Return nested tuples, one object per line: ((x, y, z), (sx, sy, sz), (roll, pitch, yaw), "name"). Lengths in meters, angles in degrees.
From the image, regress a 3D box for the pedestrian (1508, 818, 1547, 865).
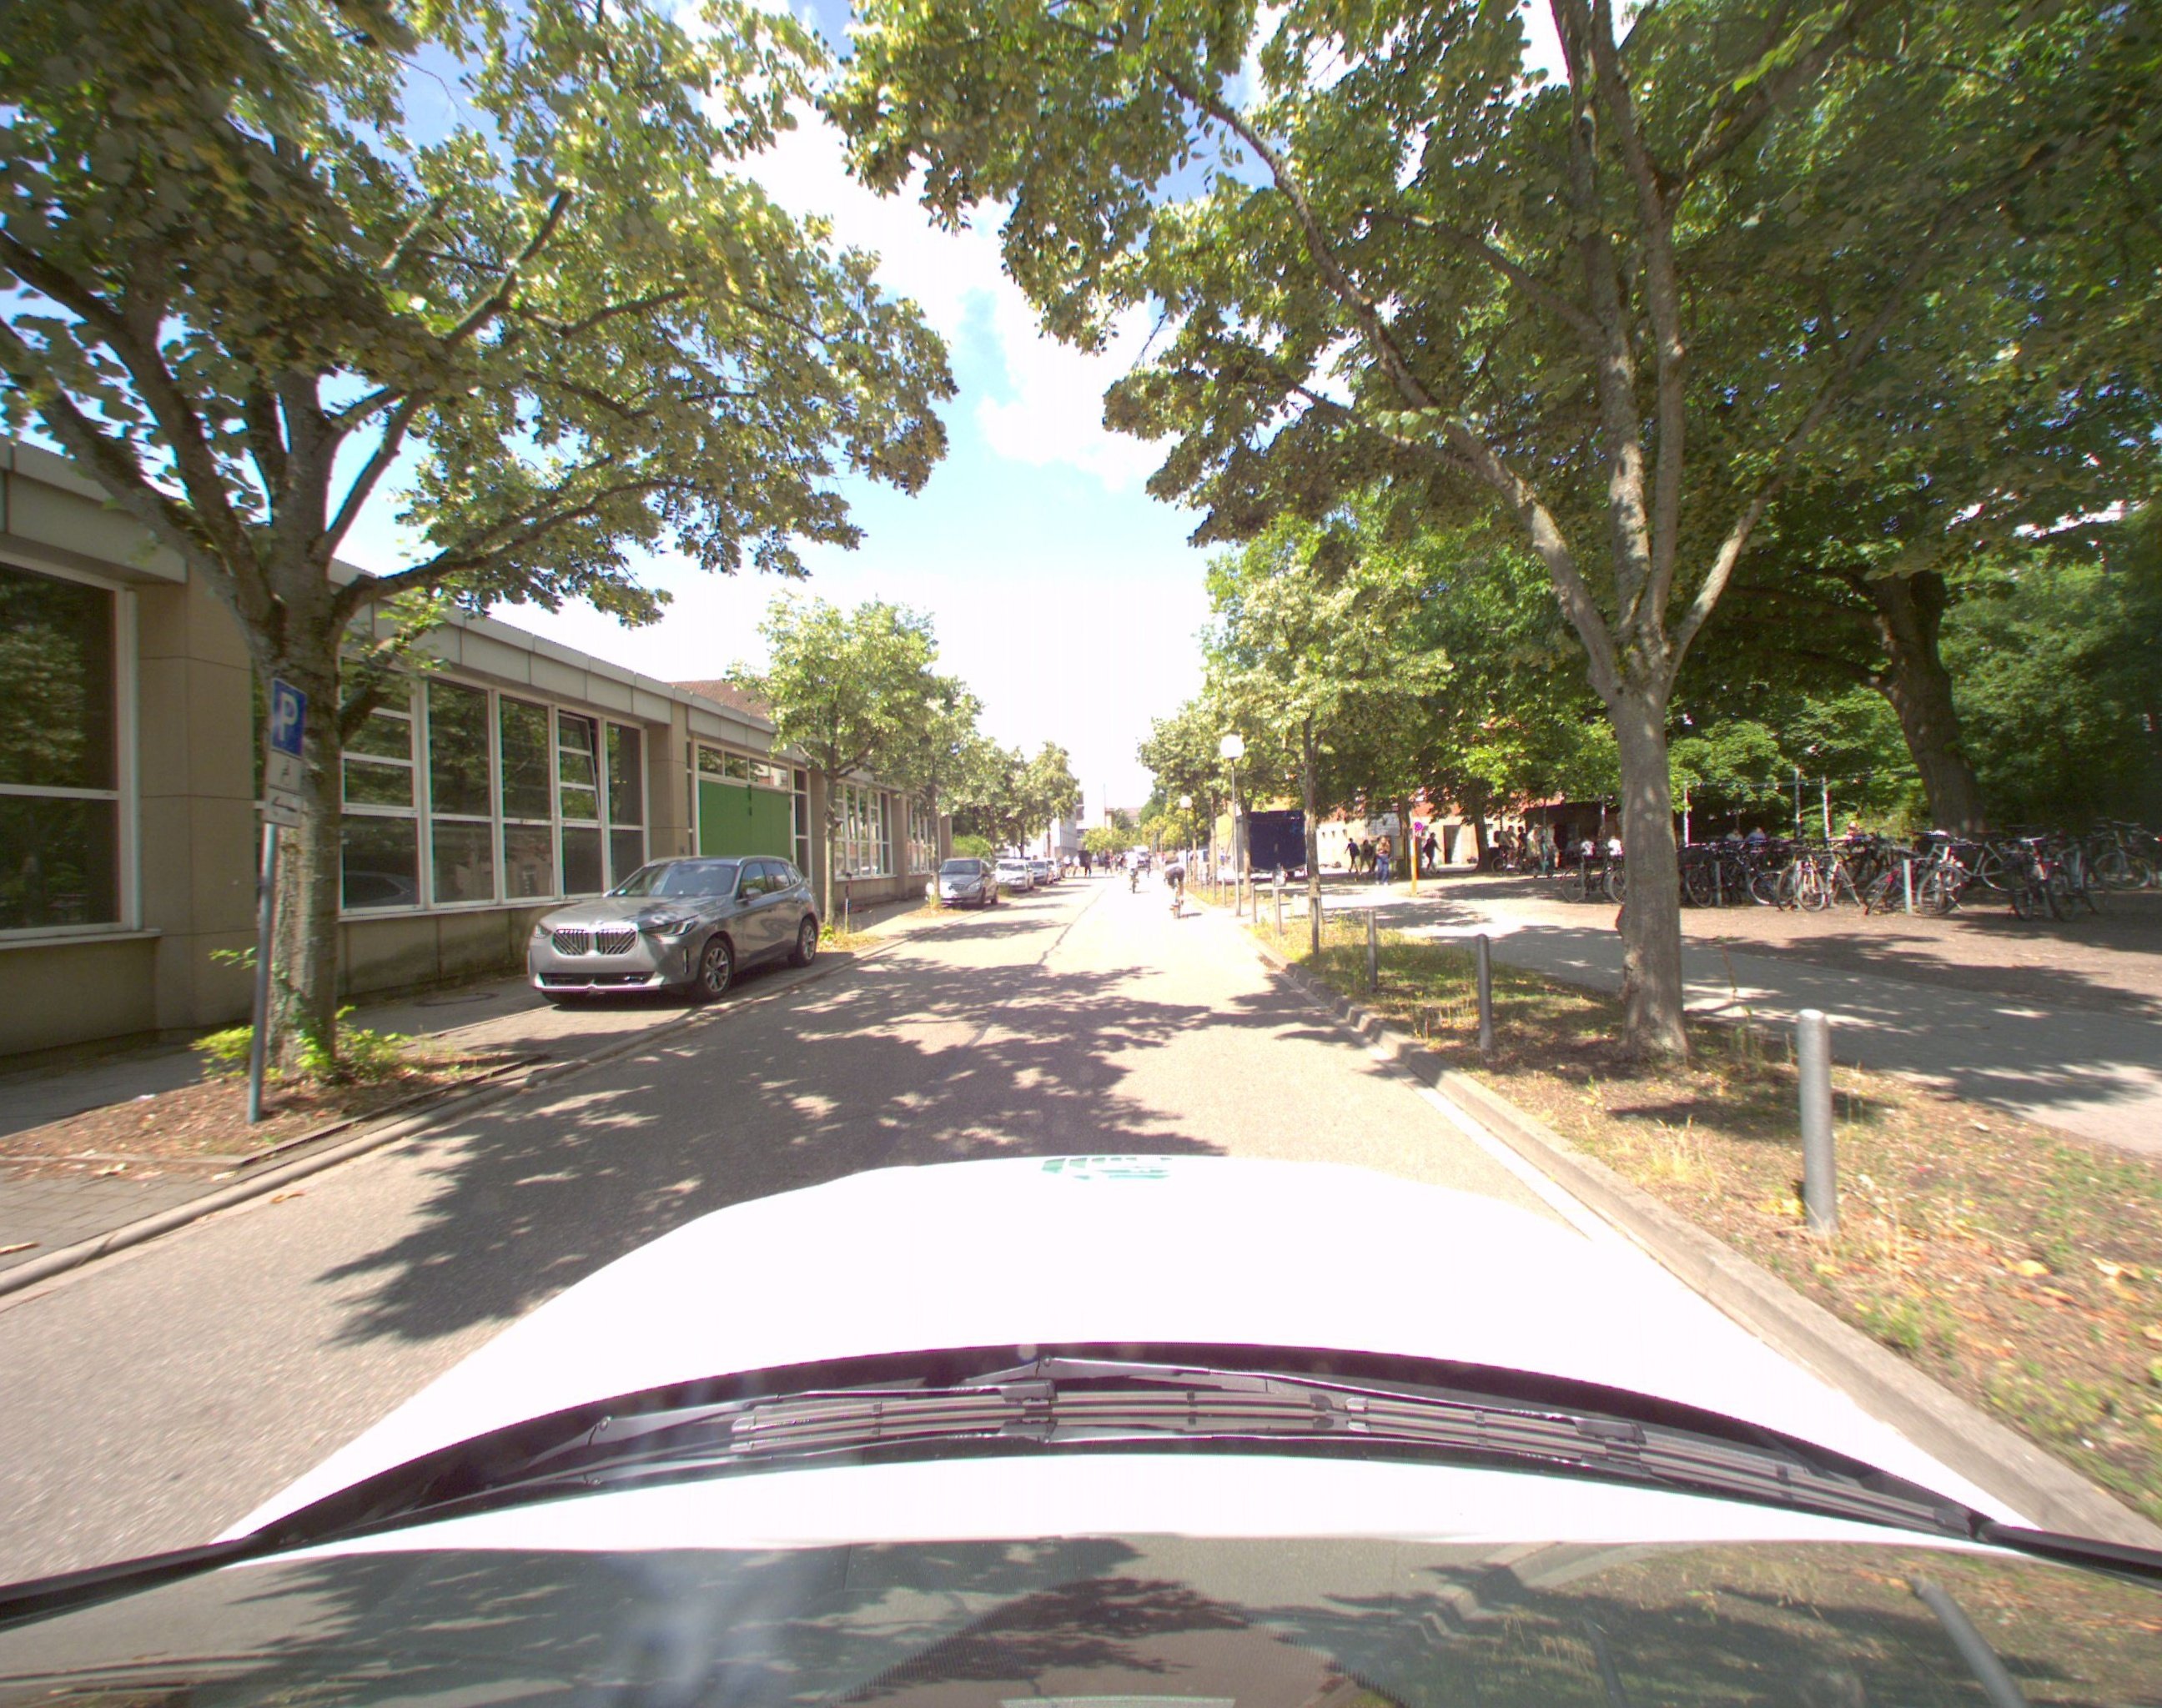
((17.442, -0.474, 31.825), (0.956, 1.775, 0.918), (-3, 0, -5), "pedestrian")

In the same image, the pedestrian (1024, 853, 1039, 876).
((-3.888, 0.834, 64.175), (0.794, 1.772, 0.860), (2, 2, 29), "pedestrian")

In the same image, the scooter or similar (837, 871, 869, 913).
((-6.813, 1.122, 24.375), (0.503, 1.169, 1.217), (-1, 0, 4), "scooter or similar")

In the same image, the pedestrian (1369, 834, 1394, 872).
((13.504, -0.042, 36.580), (0.762, 1.661, 0.825), (-3, -1, 3), "pedestrian")

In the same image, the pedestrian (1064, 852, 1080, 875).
((-0.688, 0.694, 61.550), (0.971, 1.739, 0.705), (-1, -1, 41), "pedestrian")

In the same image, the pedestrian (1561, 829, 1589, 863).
((20.322, -0.343, 33.509), (0.567, 1.346, 0.729), (-5, 0, -1), "pedestrian")

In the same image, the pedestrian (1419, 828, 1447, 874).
((14.767, -0.137, 34.176), (0.762, 1.855, 0.825), (-3, -1, 3), "pedestrian")

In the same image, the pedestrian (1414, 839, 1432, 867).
((20.176, -0.081, 48.090), (0.657, 1.607, 0.678), (-3, 0, -12), "pedestrian")

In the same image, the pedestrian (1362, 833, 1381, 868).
((15.210, -0.196, 42.610), (0.593, 1.796, 0.728), (-5, 1, 0), "pedestrian")

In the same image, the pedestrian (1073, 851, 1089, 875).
((-0.015, 0.688, 61.961), (0.897, 1.739, 0.683), (-2, 0, 41), "pedestrian")

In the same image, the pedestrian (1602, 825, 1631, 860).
((21.448, -0.444, 32.623), (0.567, 1.346, 0.729), (-5, 0, -1), "pedestrian")

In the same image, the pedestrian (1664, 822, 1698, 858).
((23.162, -0.538, 31.462), (0.664, 1.346, 0.719), (-5, 0, -1), "pedestrian")

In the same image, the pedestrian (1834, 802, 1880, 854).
((24.685, -0.810, 25.912), (0.664, 1.581, 0.718), (-5, 0, -1), "pedestrian")

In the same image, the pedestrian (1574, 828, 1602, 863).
((20.301, -0.329, 32.600), (0.567, 1.346, 0.729), (-5, 0, -1), "pedestrian")

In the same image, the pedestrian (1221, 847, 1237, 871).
((10.480, 0.351, 57.756), (0.871, 1.637, 0.950), (-7, 0, 4), "pedestrian")

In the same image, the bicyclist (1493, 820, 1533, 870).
((15.346, -0.315, 28.953), (0.531, 1.729, 1.072), (-4, 0, -17), "bicyclist")

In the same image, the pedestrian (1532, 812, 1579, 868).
((17.144, -0.480, 29.454), (0.834, 1.949, 1.072), (-4, 0, -17), "pedestrian")

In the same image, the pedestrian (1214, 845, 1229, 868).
((11.449, 0.172, 66.402), (0.712, 1.787, 0.746), (-9, 4, -28), "pedestrian")

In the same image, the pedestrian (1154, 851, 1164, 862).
((14.620, 0.448, 152.265), (1.494, 1.996, 1.647), (-5, 0, 2), "pedestrian")

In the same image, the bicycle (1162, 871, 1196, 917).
((2.342, 0.938, 19.630), (0.703, 0.993, 1.913), (-3, -1, 5), "bicycle")

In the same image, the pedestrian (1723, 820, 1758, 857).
((24.116, -0.555, 29.773), (0.664, 1.271, 0.622), (-5, 0, -1), "pedestrian")

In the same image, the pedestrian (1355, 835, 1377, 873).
((12.808, -0.010, 36.631), (0.694, 1.661, 0.789), (-3, -1, 3), "pedestrian")

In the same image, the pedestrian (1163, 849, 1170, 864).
((11.345, 0.322, 108.244), (0.786, 1.860, 1.027), (-3, 0, 5), "pedestrian")

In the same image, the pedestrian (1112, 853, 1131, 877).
((2.798, 0.737, 56.303), (0.854, 1.595, 0.821), (-4, 0, -40), "pedestrian")

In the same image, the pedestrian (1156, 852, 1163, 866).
((10.563, 0.727, 109.889), (0.786, 1.860, 1.027), (-3, 0, 5), "pedestrian")

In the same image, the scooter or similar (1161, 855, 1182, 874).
((6.464, 0.735, 58.162), (1.248, 1.265, 0.655), (-3, 0, 35), "scooter or similar")

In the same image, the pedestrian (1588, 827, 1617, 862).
((20.875, -0.390, 32.608), (0.567, 1.346, 0.729), (-5, 0, -1), "pedestrian")

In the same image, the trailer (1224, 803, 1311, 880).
((8.404, -0.518, 37.430), (2.681, 3.051, 6.261), (-4, 0, 2), "trailer")

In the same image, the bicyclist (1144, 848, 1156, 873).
((4.816, 0.443, 56.935), (0.805, 1.756, 0.693), (-2, -1, 4), "bicyclist")

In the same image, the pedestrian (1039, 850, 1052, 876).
((-2.805, 0.725, 64.849), (0.620, 1.980, 0.821), (-2, -2, -28), "pedestrian")

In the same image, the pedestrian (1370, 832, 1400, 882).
((9.808, 0.104, 26.323), (0.566, 1.571, 0.928), (-4, -1, 4), "pedestrian")

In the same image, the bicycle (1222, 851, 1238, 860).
((17.919, 0.172, 98.173), (1.802, 0.985, 0.560), (-4, 0, 2), "bicycle")

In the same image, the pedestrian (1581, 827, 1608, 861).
((21.128, -0.422, 33.522), (0.567, 1.346, 0.729), (-5, 0, -1), "pedestrian")

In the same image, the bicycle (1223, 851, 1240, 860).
((17.703, 0.186, 95.841), (1.802, 0.985, 0.560), (-4, 0, 2), "bicycle")

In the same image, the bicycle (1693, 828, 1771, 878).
((16.248, -0.028, 20.328), (1.902, 1.143, 0.476), (-4, -1, -16), "bicycle")

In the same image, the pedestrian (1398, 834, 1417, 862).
((19.254, -0.349, 48.022), (0.657, 1.607, 0.678), (-3, 0, -12), "pedestrian")

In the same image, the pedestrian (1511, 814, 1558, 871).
((16.244, -0.402, 29.176), (0.834, 1.949, 1.072), (-4, 0, -17), "pedestrian")

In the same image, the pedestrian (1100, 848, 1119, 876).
((2.037, 0.558, 58.430), (0.859, 1.859, 1.103), (-5, 6, -40), "pedestrian")

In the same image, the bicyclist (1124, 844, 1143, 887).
((2.164, 0.474, 33.600), (0.767, 1.756, 0.849), (0, 0, 5), "bicyclist")

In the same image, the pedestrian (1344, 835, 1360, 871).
((14.081, -0.043, 42.320), (0.593, 1.796, 0.407), (-5, 1, 0), "pedestrian")

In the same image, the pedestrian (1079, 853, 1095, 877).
((0.430, 0.830, 59.736), (0.983, 1.720, 0.706), (-2, -4, 16), "pedestrian")

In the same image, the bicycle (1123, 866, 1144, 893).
((2.172, 1.015, 33.479), (0.804, 1.002, 2.126), (-2, 0, 5), "bicycle")

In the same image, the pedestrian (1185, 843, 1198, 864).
((8.912, -0.042, 65.687), (0.952, 1.694, 0.707), (1, 2, 13), "pedestrian")

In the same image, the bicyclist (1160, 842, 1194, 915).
((2.284, 0.569, 19.444), (0.714, 1.662, 1.096), (-1, 0, 4), "bicyclist")

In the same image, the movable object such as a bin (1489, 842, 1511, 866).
((19.220, 0.000, 37.388), (0.596, 1.071, 0.743), (-2, -2, 4), "movable object such as a bin")

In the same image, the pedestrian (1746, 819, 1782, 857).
((24.187, -0.553, 28.836), (0.664, 1.271, 0.622), (-5, 0, -1), "pedestrian")

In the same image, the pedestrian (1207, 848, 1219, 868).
((10.699, 0.328, 66.119), (0.504, 1.630, 0.566), (-9, 2, -28), "pedestrian")

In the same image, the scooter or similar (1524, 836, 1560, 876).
((14.622, 0.070, 25.860), (0.422, 1.219, 1.296), (-3, -1, 4), "scooter or similar")
